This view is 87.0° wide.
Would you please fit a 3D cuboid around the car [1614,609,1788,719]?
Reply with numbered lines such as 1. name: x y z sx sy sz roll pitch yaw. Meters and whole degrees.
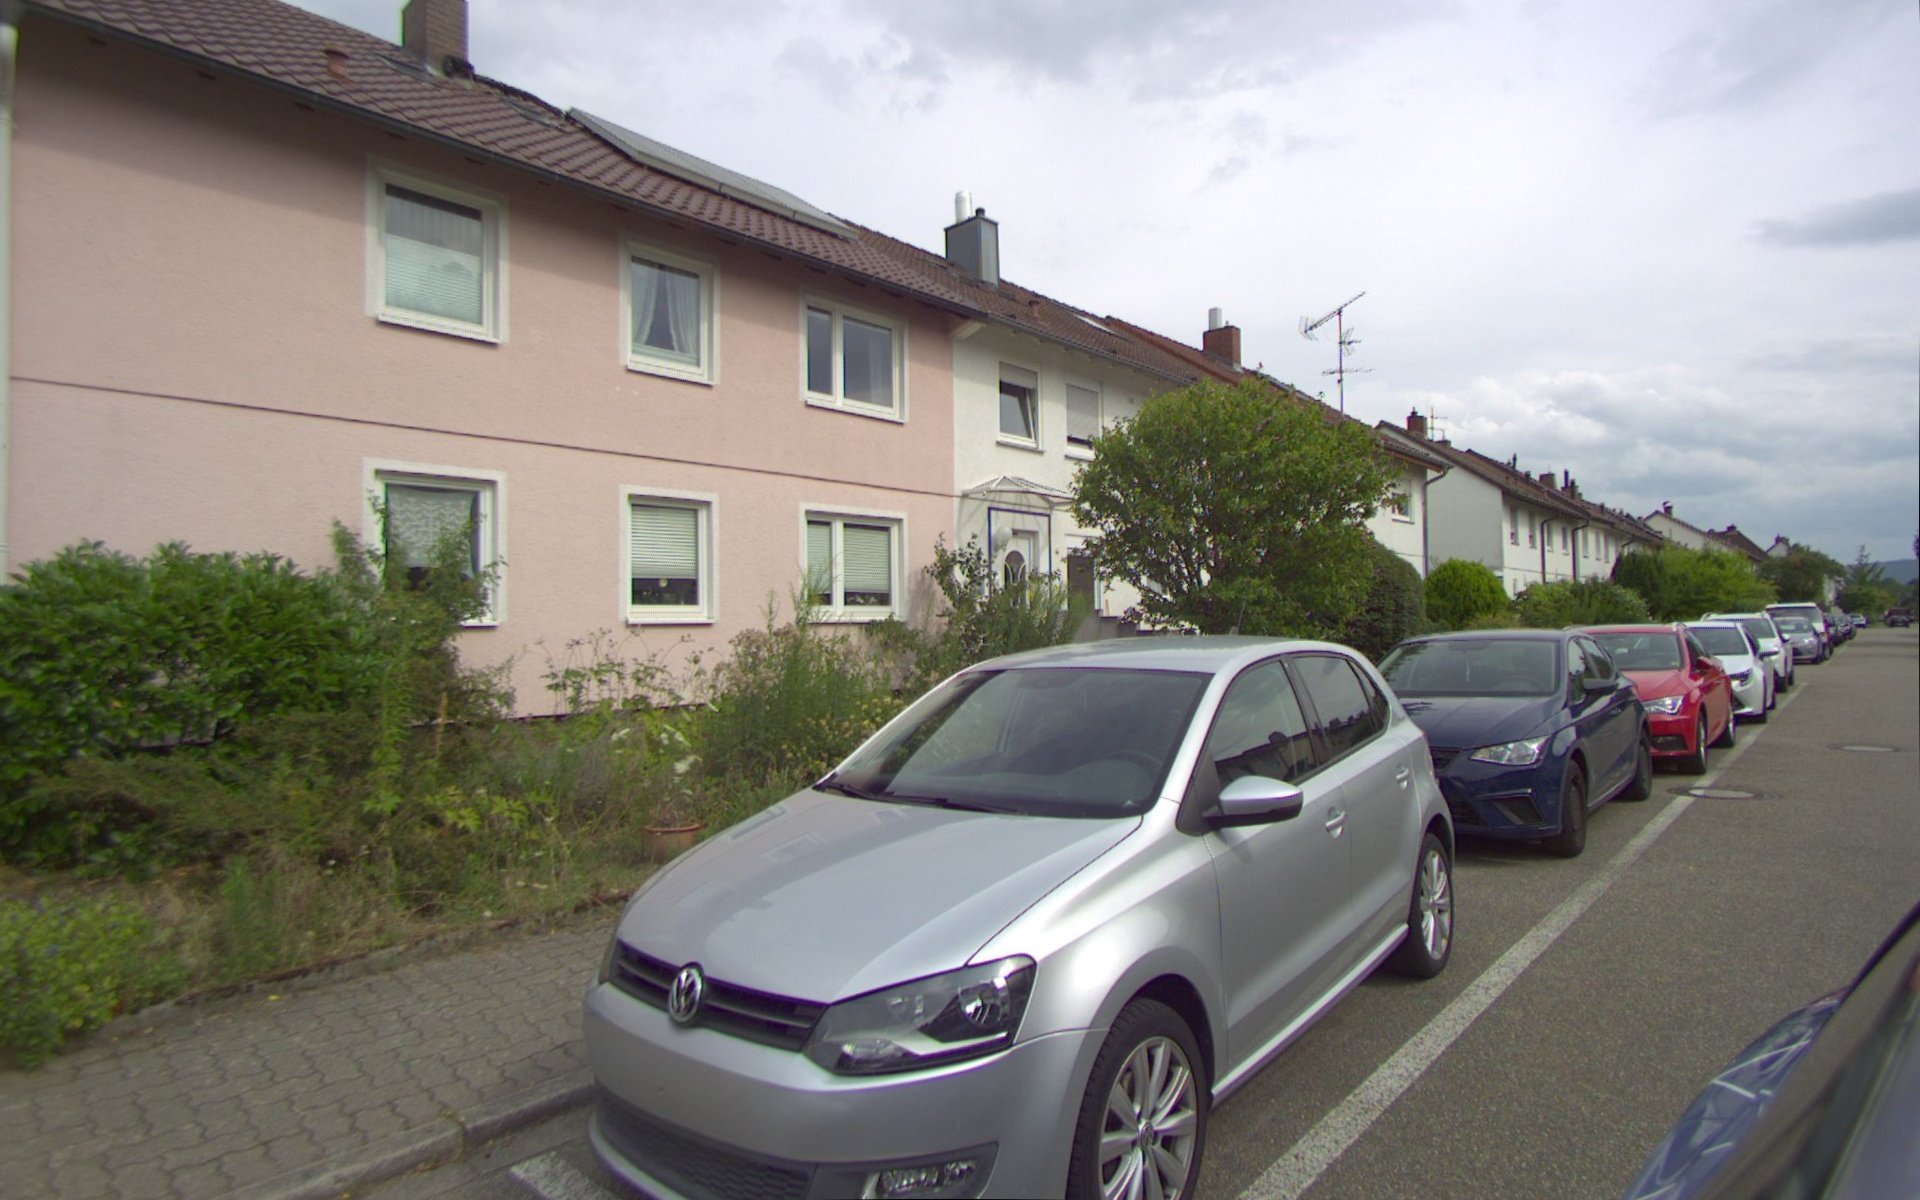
1. car: 11.503 0.865 15.571 1.835 1.431 4.569 -1 -1 40

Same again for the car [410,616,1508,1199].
1. car: 0.514 0.798 3.816 1.862 1.435 4.190 -2 -2 41

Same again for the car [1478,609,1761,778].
1. car: 7.471 0.881 11.233 1.772 1.454 4.750 -5 -3 43

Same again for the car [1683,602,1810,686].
1. car: 16.149 0.866 20.711 1.712 1.564 3.912 -4 -3 42

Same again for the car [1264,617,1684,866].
1. car: 4.155 0.829 7.823 1.772 1.373 4.198 -1 -1 43

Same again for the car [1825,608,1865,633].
1. car: 55.699 1.269 63.654 1.748 1.486 4.576 -2 -2 42

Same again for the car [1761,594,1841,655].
1. car: 29.468 0.838 35.447 2.018 1.972 4.676 -1 -1 41

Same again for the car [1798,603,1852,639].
1. car: 42.201 1.009 49.377 1.865 1.675 4.397 -2 -2 41

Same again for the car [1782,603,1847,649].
1. car: 32.856 0.983 39.013 1.807 1.672 4.347 -1 -1 39

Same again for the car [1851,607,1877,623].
1. car: 99.048 1.639 110.910 1.990 1.620 3.942 -2 -2 40

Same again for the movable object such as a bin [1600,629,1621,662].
1. movable object such as a bin: 18.708 1.304 29.099 0.430 0.933 0.458 -3 -3 38

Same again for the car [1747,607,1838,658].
1. car: 26.109 0.973 31.704 1.900 1.478 4.064 -1 -1 44
